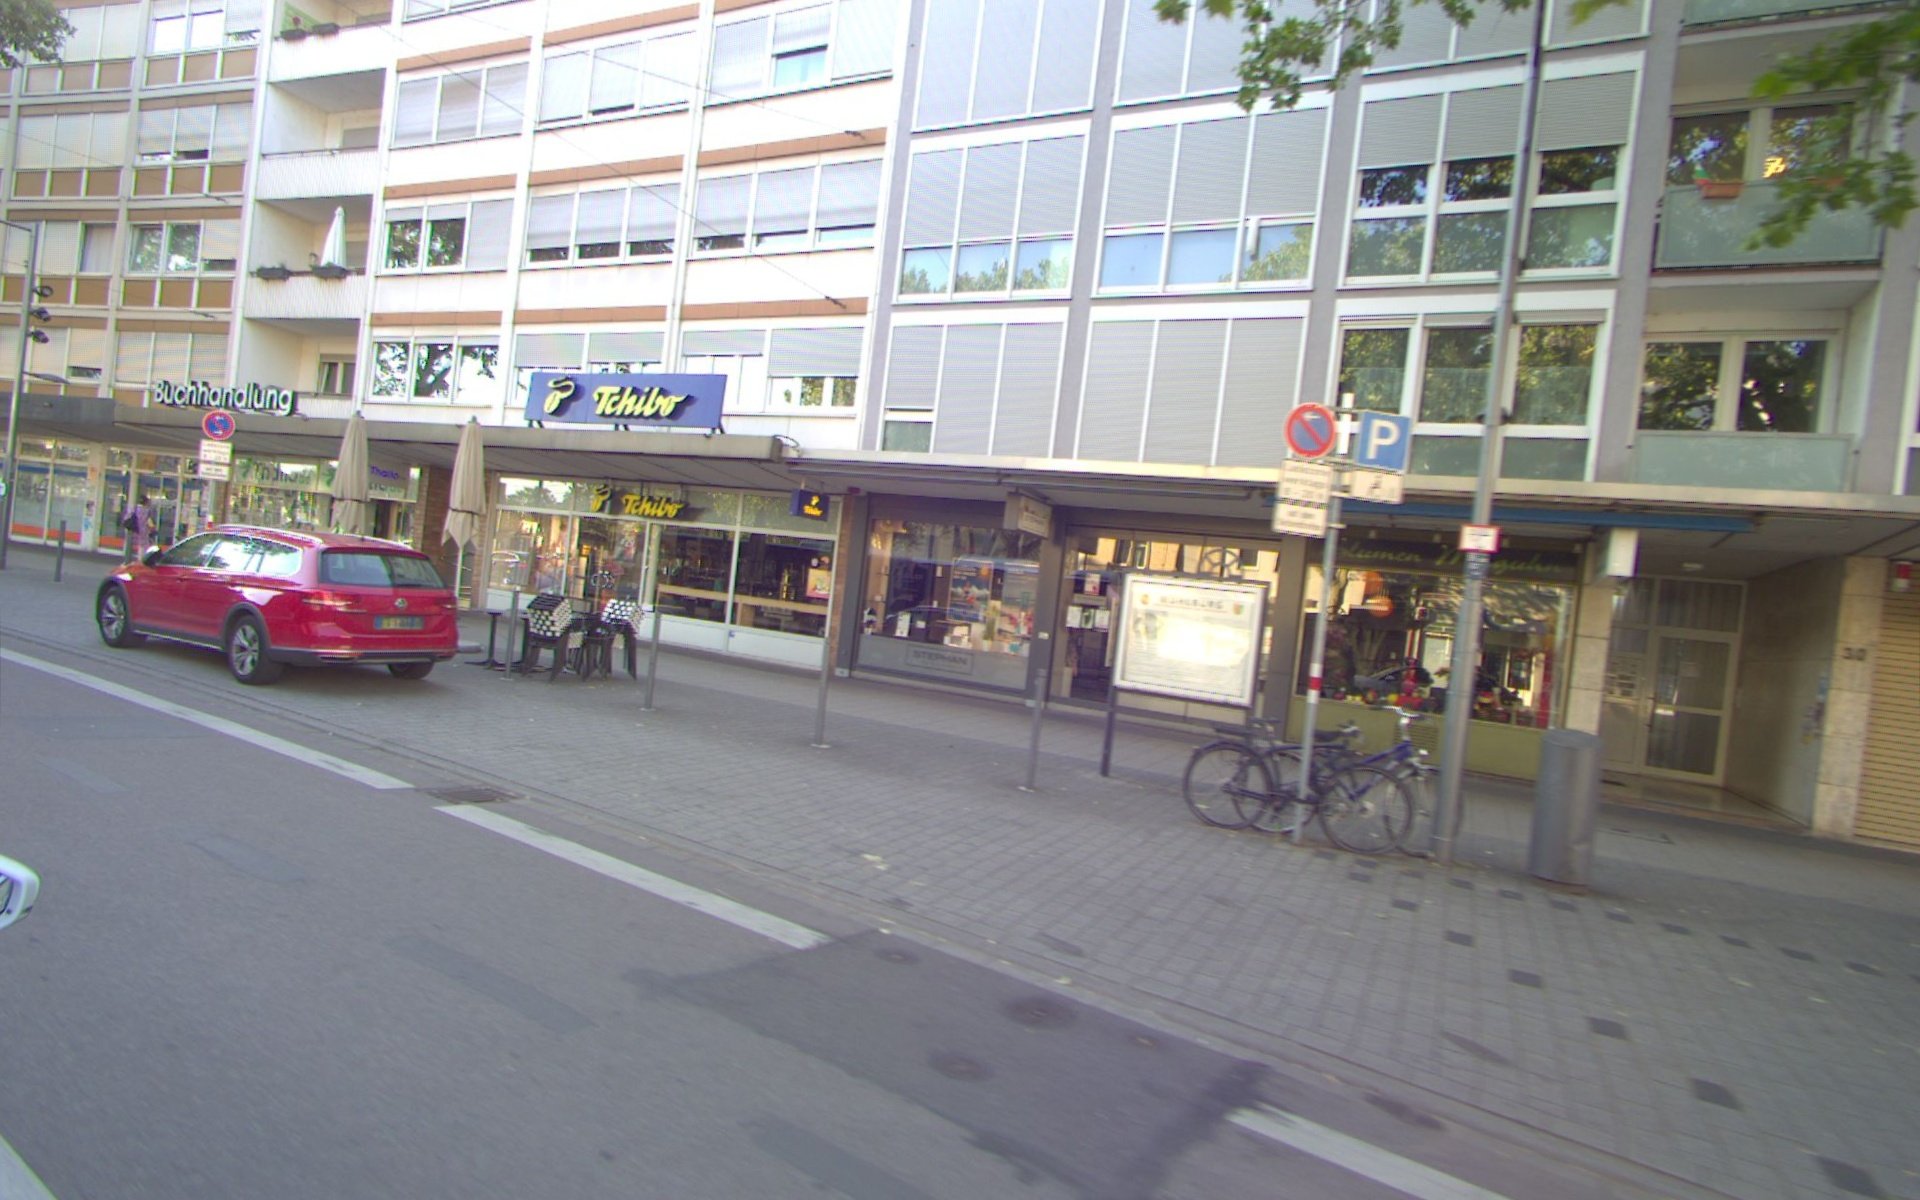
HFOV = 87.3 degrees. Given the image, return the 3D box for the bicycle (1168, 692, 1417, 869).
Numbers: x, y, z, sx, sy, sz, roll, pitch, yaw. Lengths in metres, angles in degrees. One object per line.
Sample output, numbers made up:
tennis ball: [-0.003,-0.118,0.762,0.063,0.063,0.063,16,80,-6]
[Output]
bicycle: [2.534,1.365,7.785,1.686,1.055,0.294,7,4,18]

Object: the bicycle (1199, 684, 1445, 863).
bicycle: [2.833,1.345,7.985,1.686,1.116,0.294,7,4,18]

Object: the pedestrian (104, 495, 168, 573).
pedestrian: [-18.085,-1.439,22.087,0.792,1.571,0.641,7,1,18]

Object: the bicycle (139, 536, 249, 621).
bicycle: [-11.440,-0.318,15.007,1.631,1.084,0.512,7,3,23]

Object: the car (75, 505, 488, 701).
car: [-7.439,-0.036,10.936,4.488,1.516,1.780,7,2,28]
